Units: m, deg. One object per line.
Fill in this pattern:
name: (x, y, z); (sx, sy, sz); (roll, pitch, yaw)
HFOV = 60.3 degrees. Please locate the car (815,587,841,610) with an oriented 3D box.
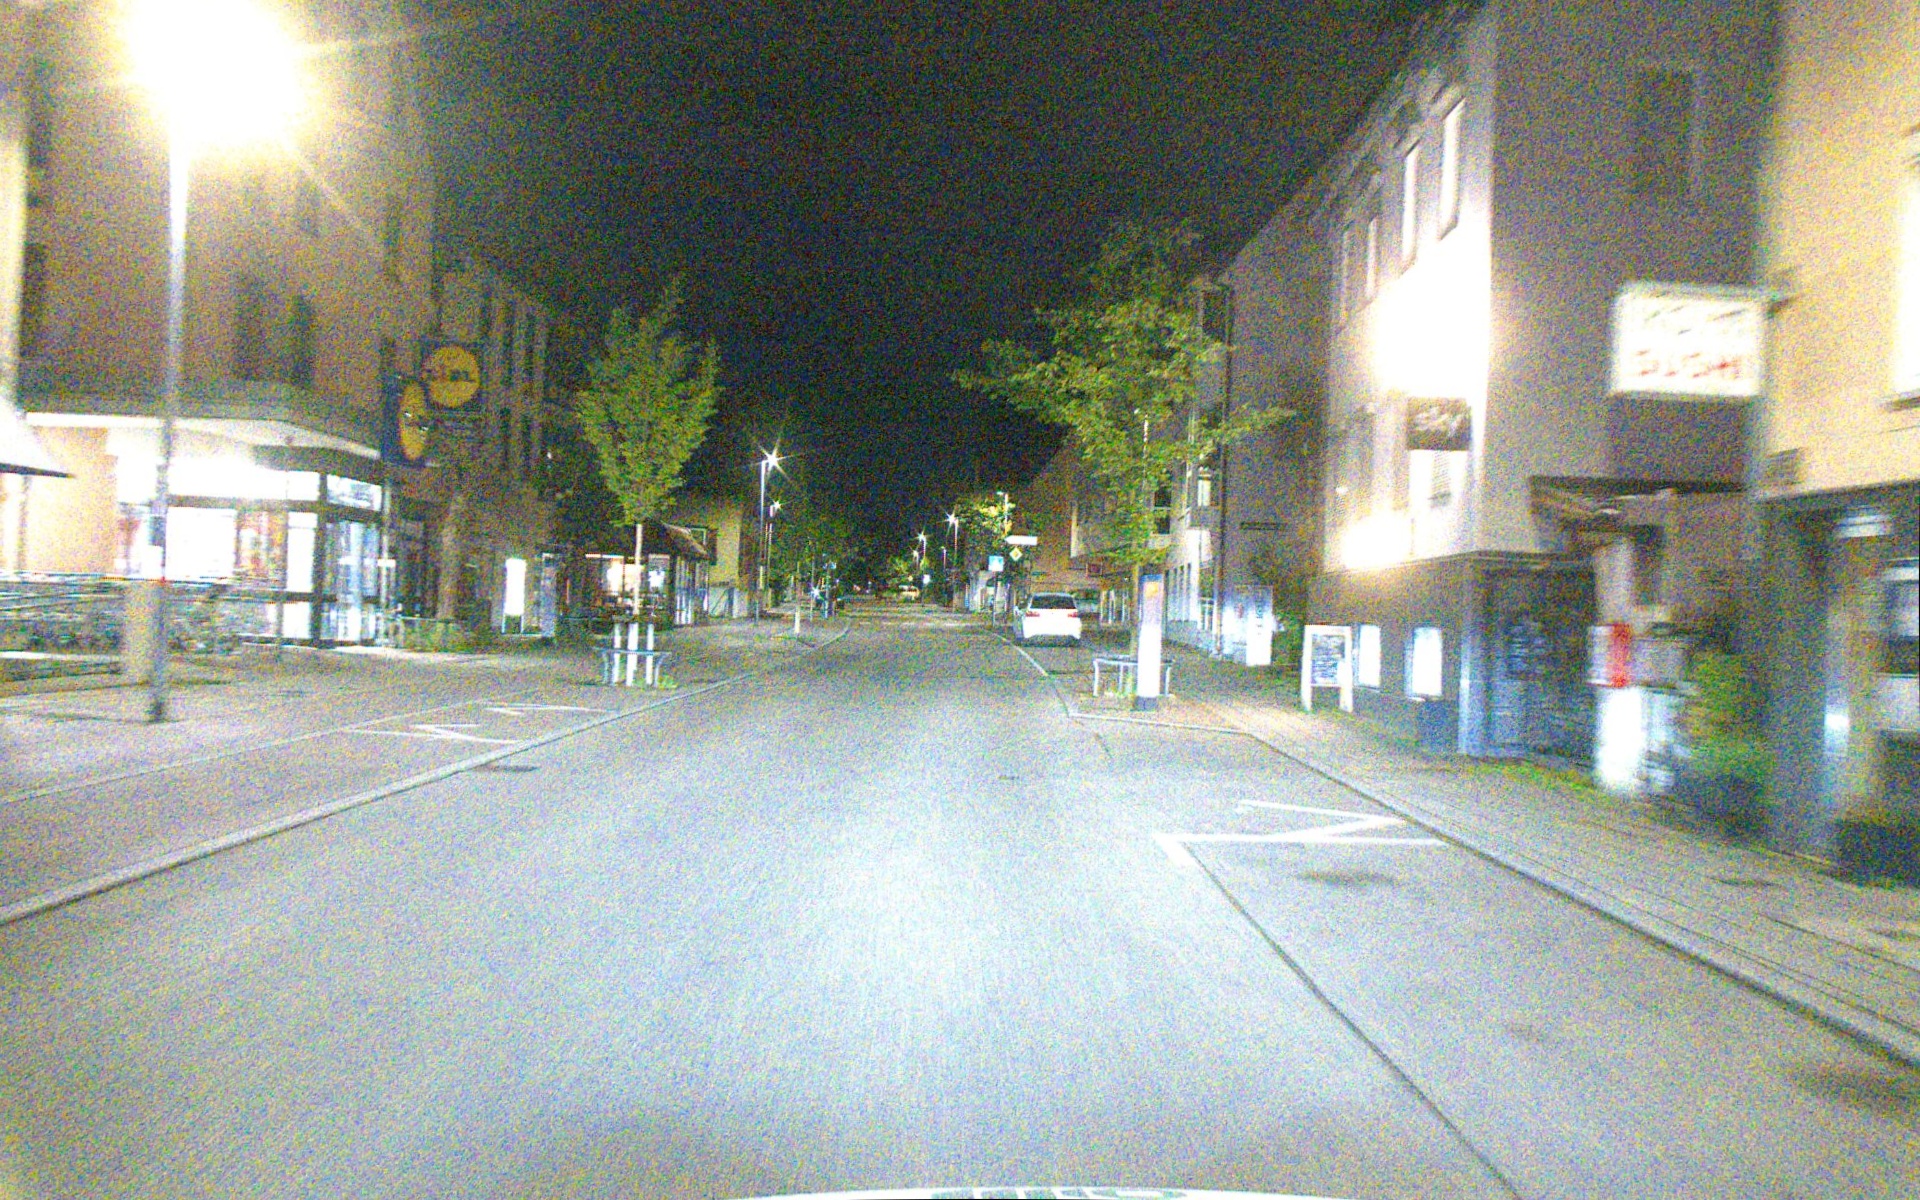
car: (-8.963, -0.107, 112.473); (1.654, 1.537, 4.275); (1, 0, -4)

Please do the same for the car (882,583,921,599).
car: (-7.856, -1.196, 220.924); (5.082, 2.049, 2.099); (0, 0, -6)

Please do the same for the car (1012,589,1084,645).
car: (2.550, 0.466, 48.840); (1.708, 1.596, 4.206); (0, 0, -3)

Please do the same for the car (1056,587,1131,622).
car: (6.644, 0.223, 82.375); (3.438, 1.551, 1.819); (-2, 0, -6)

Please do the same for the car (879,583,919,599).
car: (-8.046, -1.148, 217.830); (5.082, 2.049, 2.099); (0, 0, -6)

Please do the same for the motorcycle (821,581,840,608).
motorcycle: (-7.269, -0.320, 92.932); (0.730, 1.477, 2.196); (1, 0, 4)
